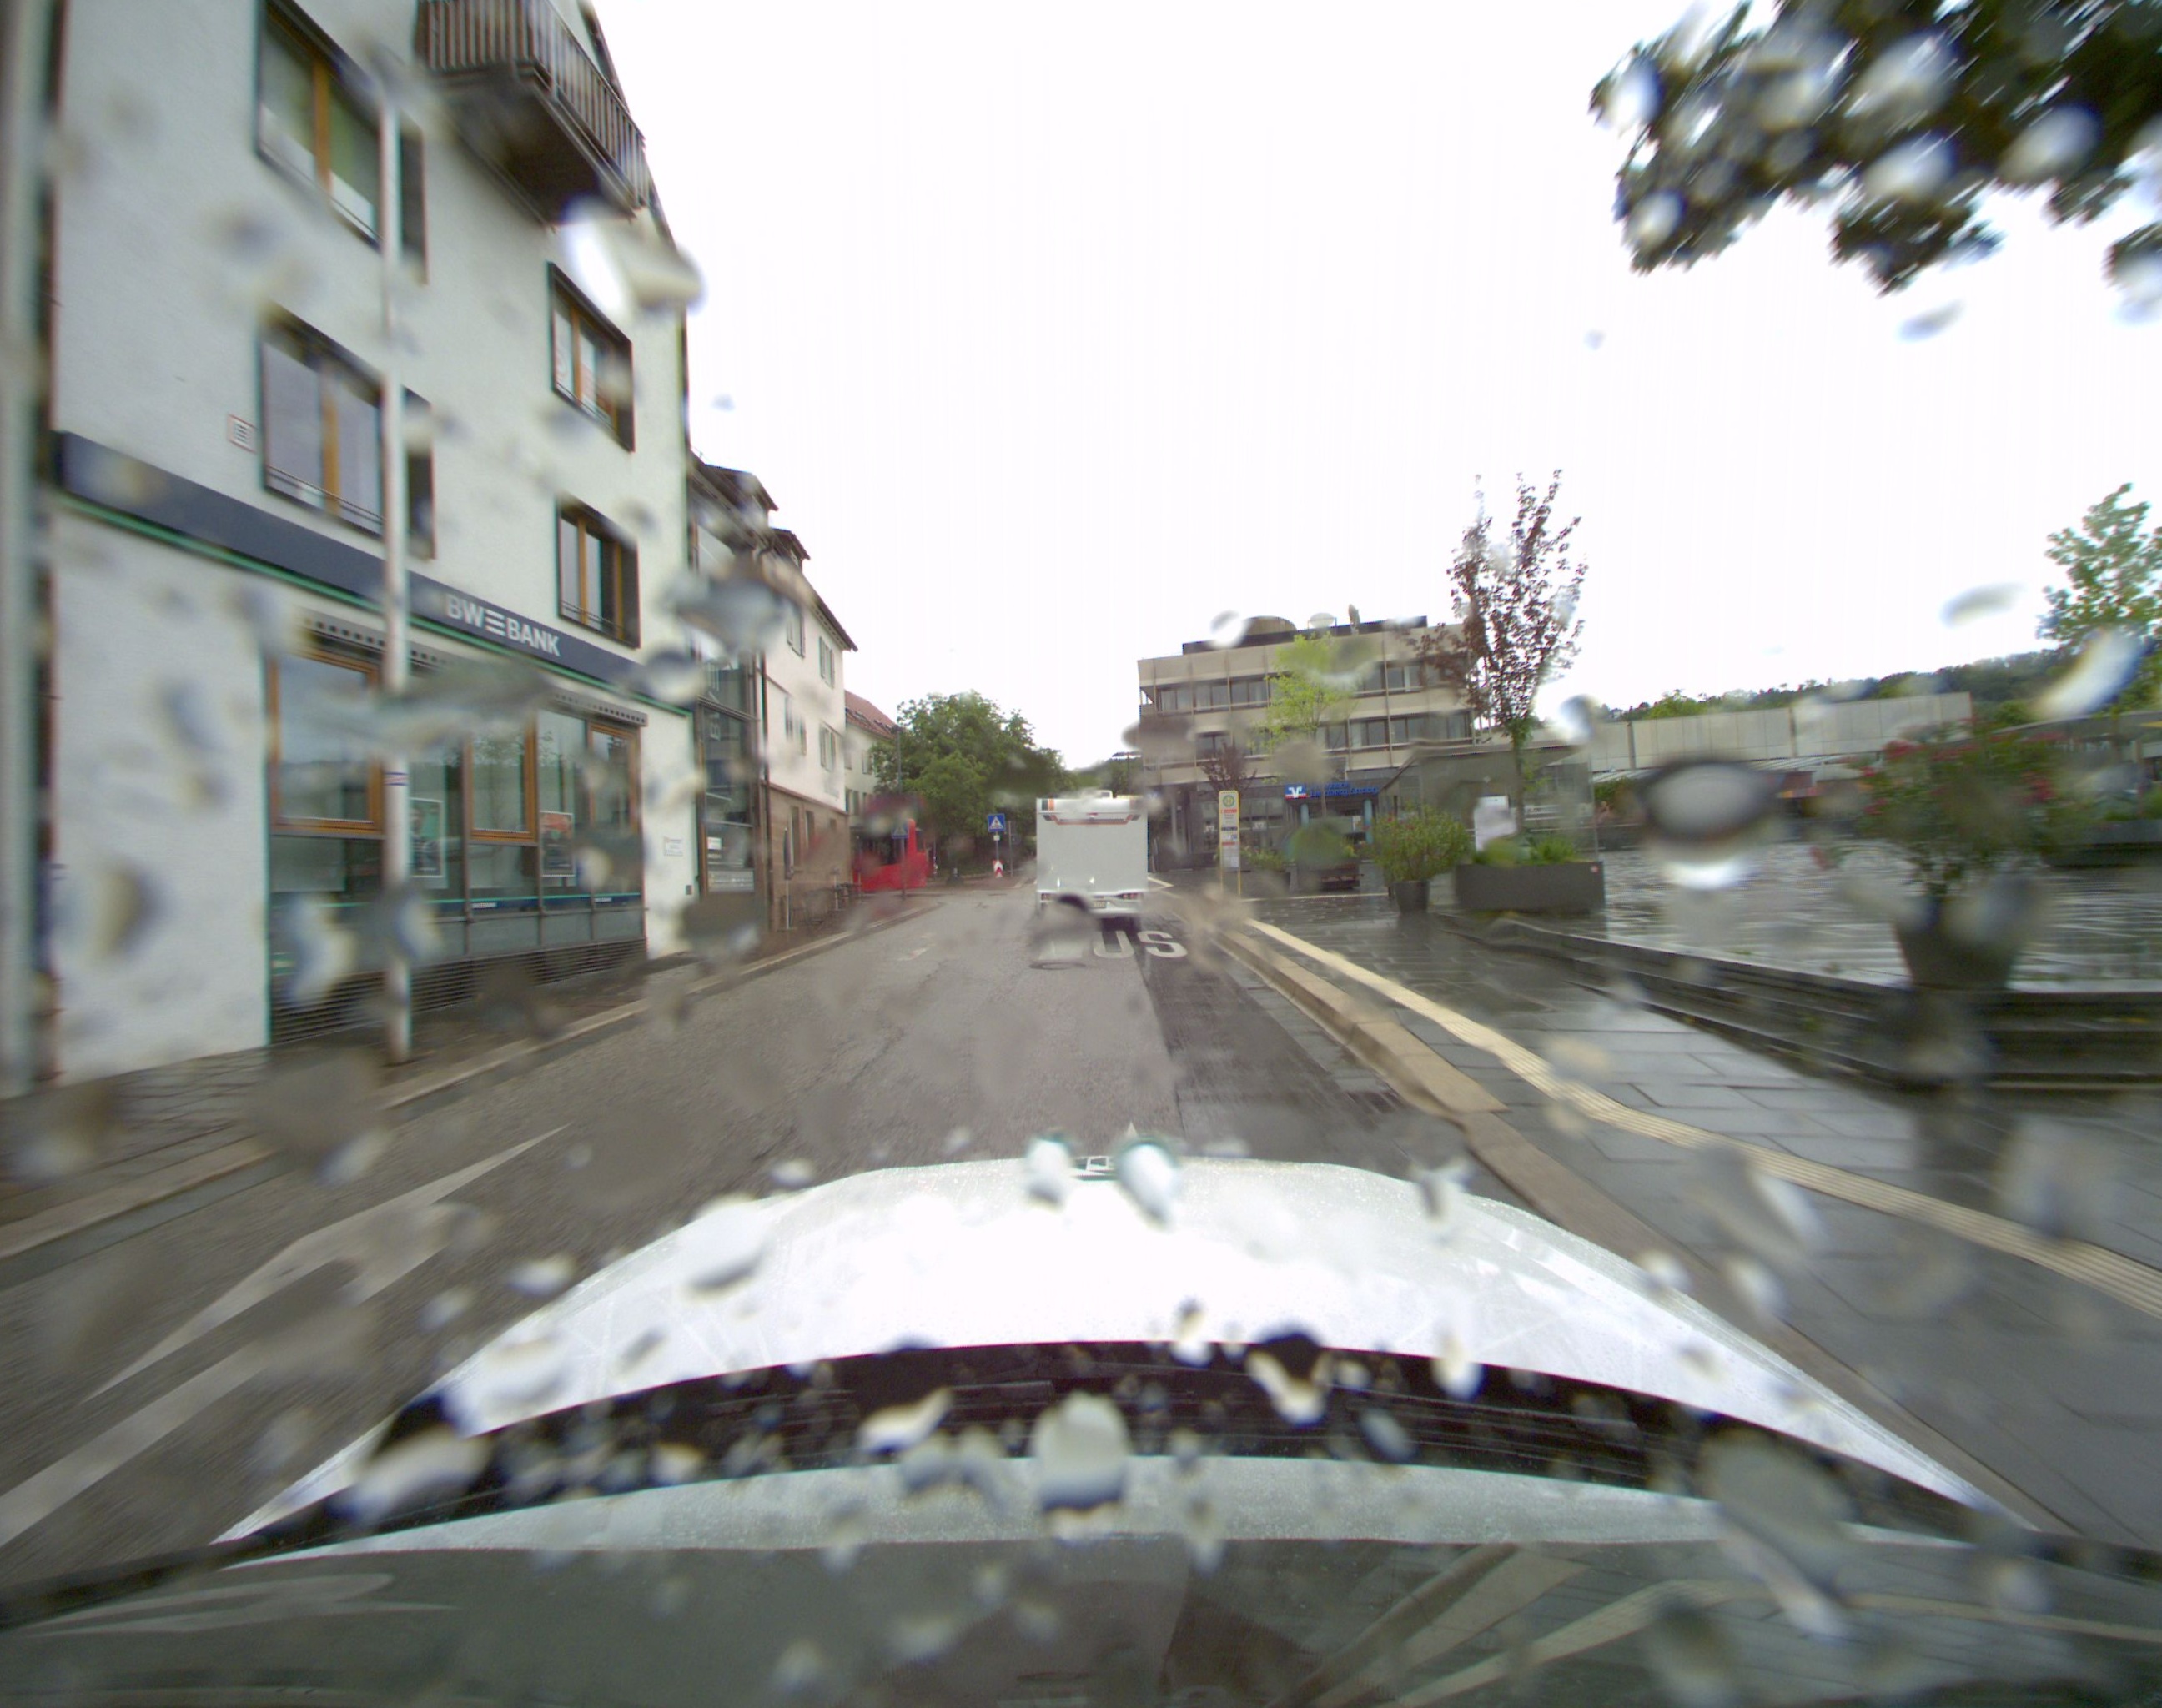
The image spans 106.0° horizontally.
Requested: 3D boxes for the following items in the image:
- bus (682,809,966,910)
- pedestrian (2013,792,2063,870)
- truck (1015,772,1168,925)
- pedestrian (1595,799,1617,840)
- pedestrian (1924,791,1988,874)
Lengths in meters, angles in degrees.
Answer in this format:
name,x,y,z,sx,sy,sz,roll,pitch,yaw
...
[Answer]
name,x,y,z,sx,sy,sz,roll,pitch,yaw
bus,-9.891,0.197,32.326,10.094,3.146,3.029,-4,-1,-4
pedestrian,30.826,-0.719,26.237,0.728,2.439,0.571,-4,-1,15
truck,0.161,-0.059,18.875,2.798,2.797,6.103,-4,-1,-1
pedestrian,28.839,-1.890,44.728,0.751,2.147,0.662,-4,-1,20
pedestrian,29.283,-0.707,27.280,1.045,2.684,0.836,-4,-1,20
